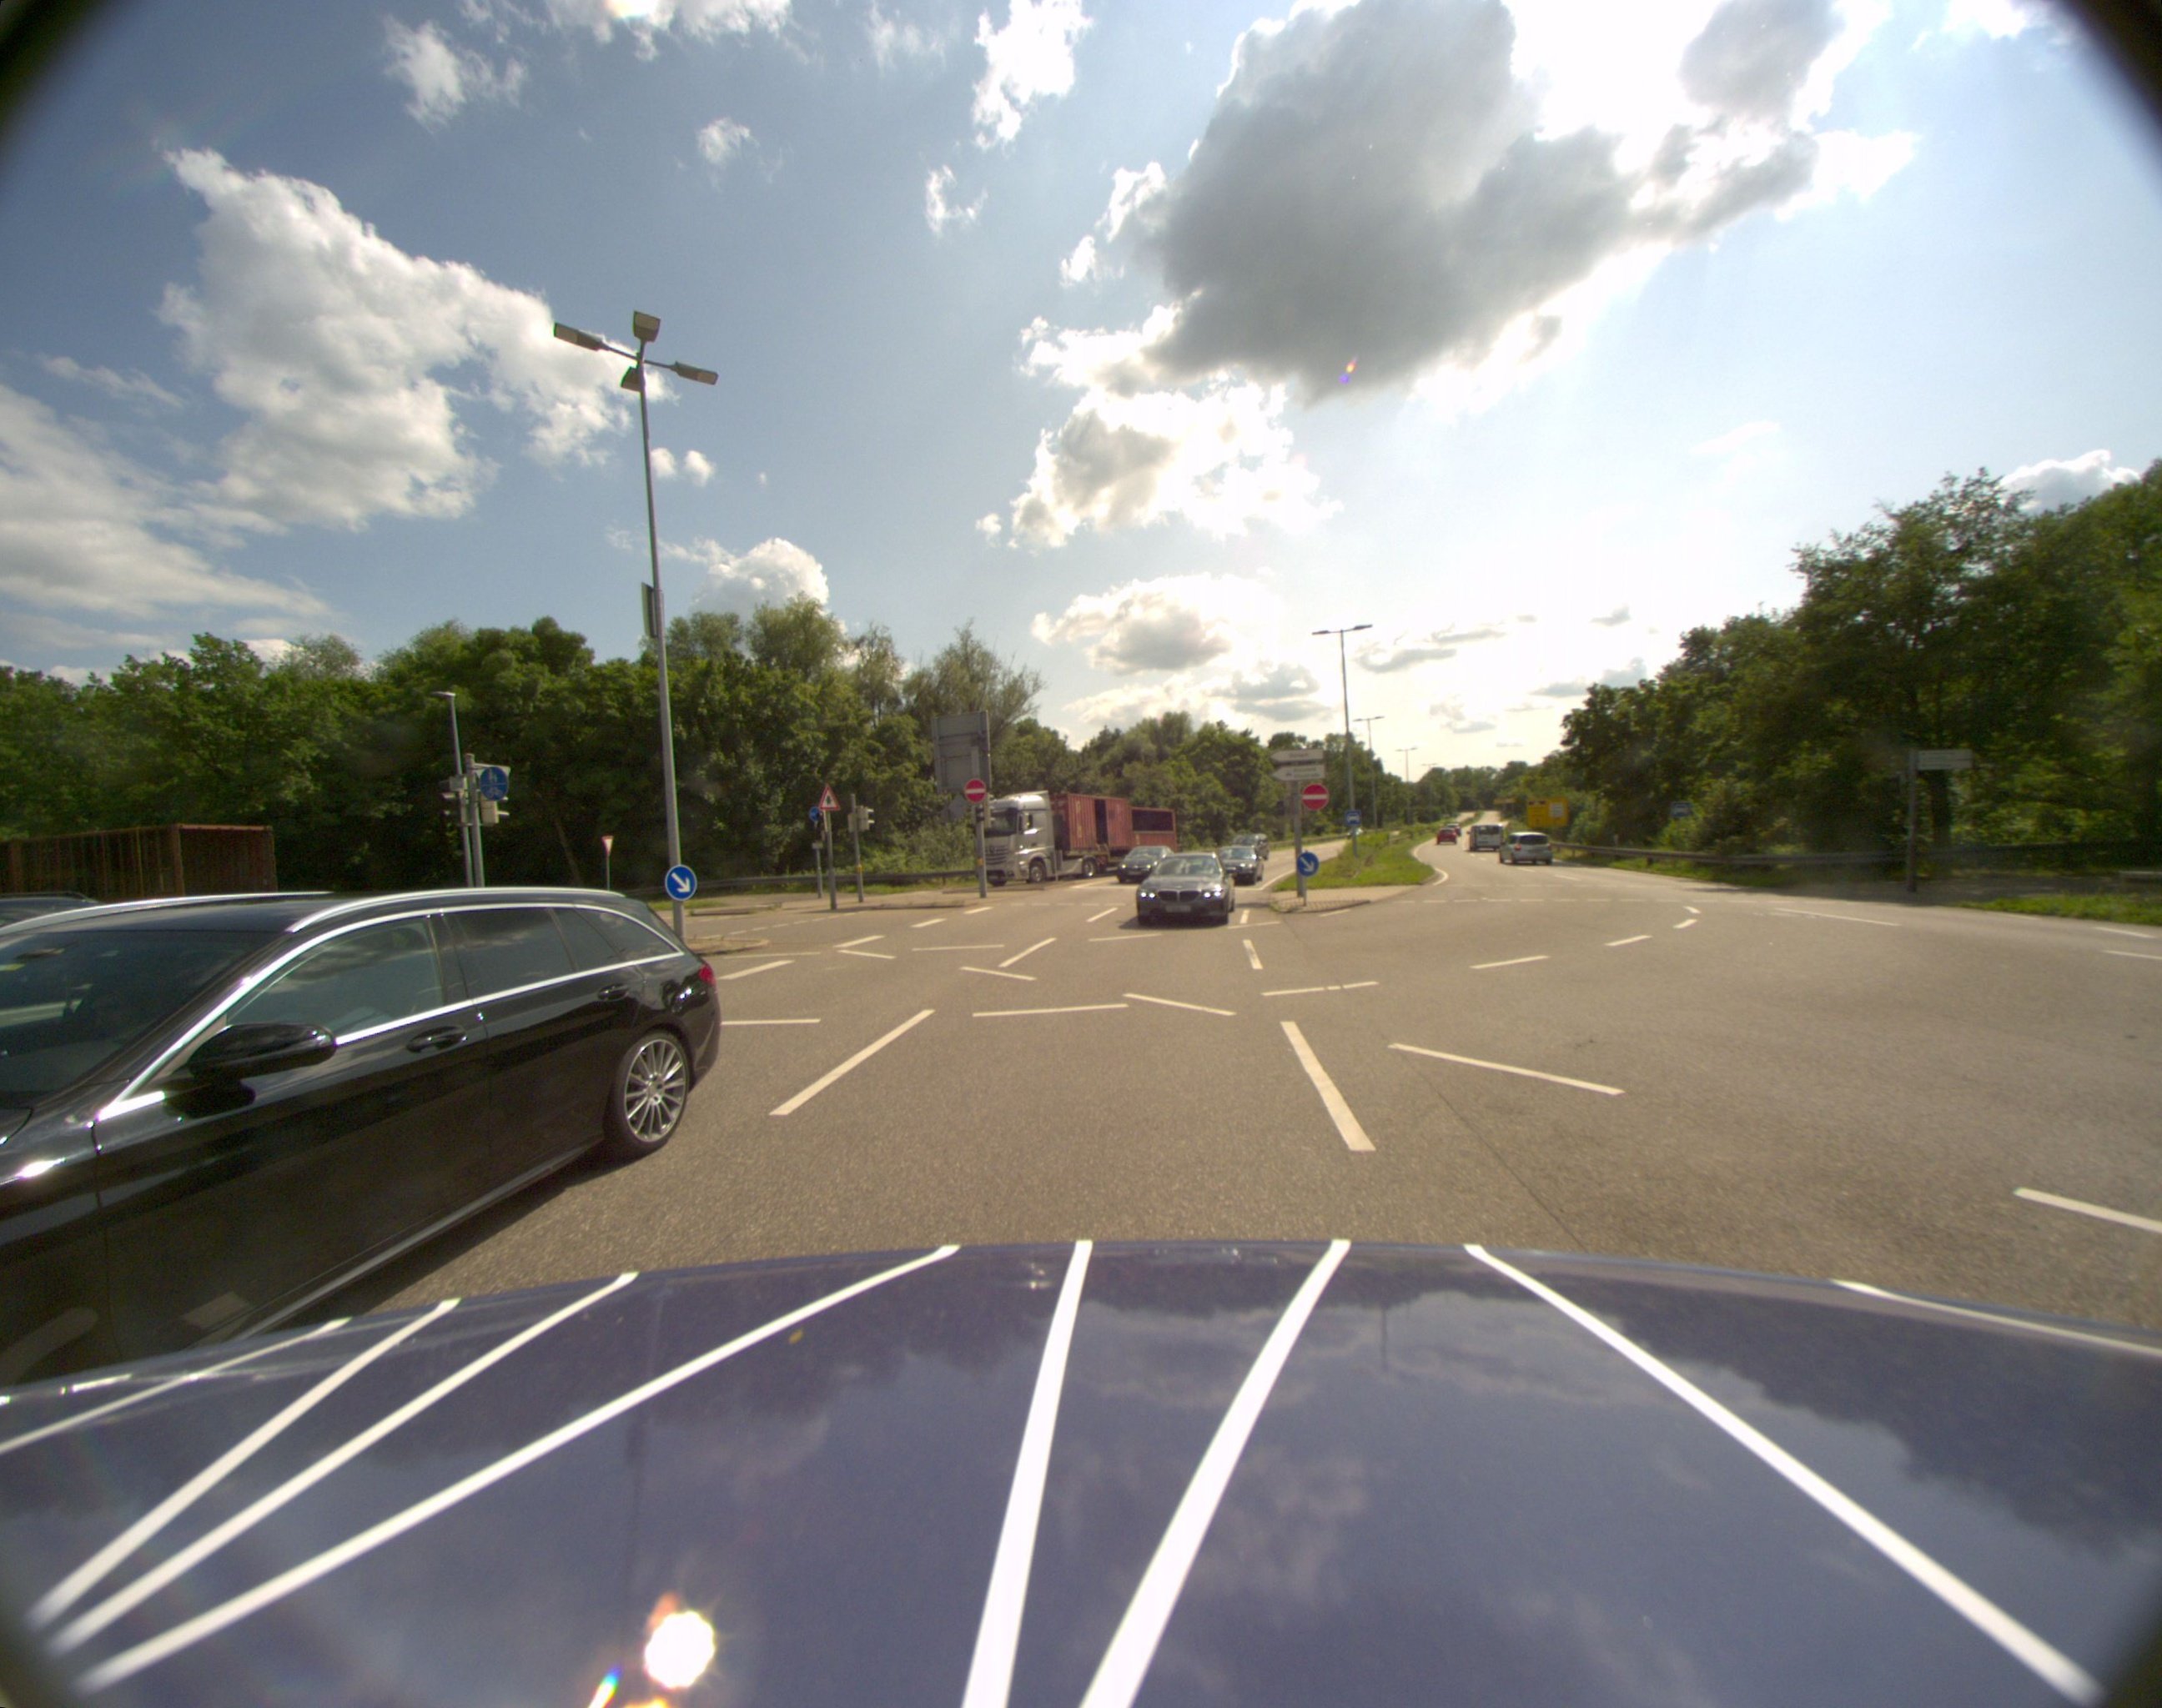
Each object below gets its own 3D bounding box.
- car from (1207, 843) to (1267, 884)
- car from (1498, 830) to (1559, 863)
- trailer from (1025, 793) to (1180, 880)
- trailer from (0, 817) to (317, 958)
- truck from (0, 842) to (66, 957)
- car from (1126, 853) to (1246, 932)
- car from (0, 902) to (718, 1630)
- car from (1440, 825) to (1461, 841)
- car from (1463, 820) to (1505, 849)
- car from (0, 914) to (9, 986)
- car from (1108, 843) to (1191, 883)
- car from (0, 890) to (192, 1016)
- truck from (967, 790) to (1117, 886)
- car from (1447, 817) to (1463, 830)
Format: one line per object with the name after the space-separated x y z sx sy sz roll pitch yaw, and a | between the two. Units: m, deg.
6.106 0.332 29.377 1.856 1.403 4.004 -2 1 17 | car
22.013 -0.384 37.543 1.735 1.512 4.072 0 1 18 | car
1.635 -0.958 39.638 2.773 3.828 12.340 -2 1 28 | trailer
-32.988 1.265 25.451 13.828 3.869 2.649 -4 1 9 | trailer
-39.527 1.746 26.316 5.868 3.881 2.880 -4 1 13 | truck
2.410 0.726 16.468 1.856 1.355 4.004 0 2 18 | car
-3.246 1.025 2.470 1.795 1.427 4.371 -2 0 3 | car
34.321 -1.992 70.576 1.582 1.424 4.006 0 2 28 | car
29.344 -1.455 55.497 1.995 2.002 5.141 1 2 20 | car
-22.919 1.958 14.570 4.533 1.367 1.648 -3 0 22 | car
2.857 0.321 30.809 1.855 1.403 4.006 -2 1 28 | car
-16.769 1.528 12.196 4.285 1.608 1.847 -3 2 22 | car
-1.555 -0.715 34.035 2.771 3.823 6.832 -2 1 37 | truck
46.460 -3.758 94.459 1.711 1.577 4.288 1 2 26 | car
